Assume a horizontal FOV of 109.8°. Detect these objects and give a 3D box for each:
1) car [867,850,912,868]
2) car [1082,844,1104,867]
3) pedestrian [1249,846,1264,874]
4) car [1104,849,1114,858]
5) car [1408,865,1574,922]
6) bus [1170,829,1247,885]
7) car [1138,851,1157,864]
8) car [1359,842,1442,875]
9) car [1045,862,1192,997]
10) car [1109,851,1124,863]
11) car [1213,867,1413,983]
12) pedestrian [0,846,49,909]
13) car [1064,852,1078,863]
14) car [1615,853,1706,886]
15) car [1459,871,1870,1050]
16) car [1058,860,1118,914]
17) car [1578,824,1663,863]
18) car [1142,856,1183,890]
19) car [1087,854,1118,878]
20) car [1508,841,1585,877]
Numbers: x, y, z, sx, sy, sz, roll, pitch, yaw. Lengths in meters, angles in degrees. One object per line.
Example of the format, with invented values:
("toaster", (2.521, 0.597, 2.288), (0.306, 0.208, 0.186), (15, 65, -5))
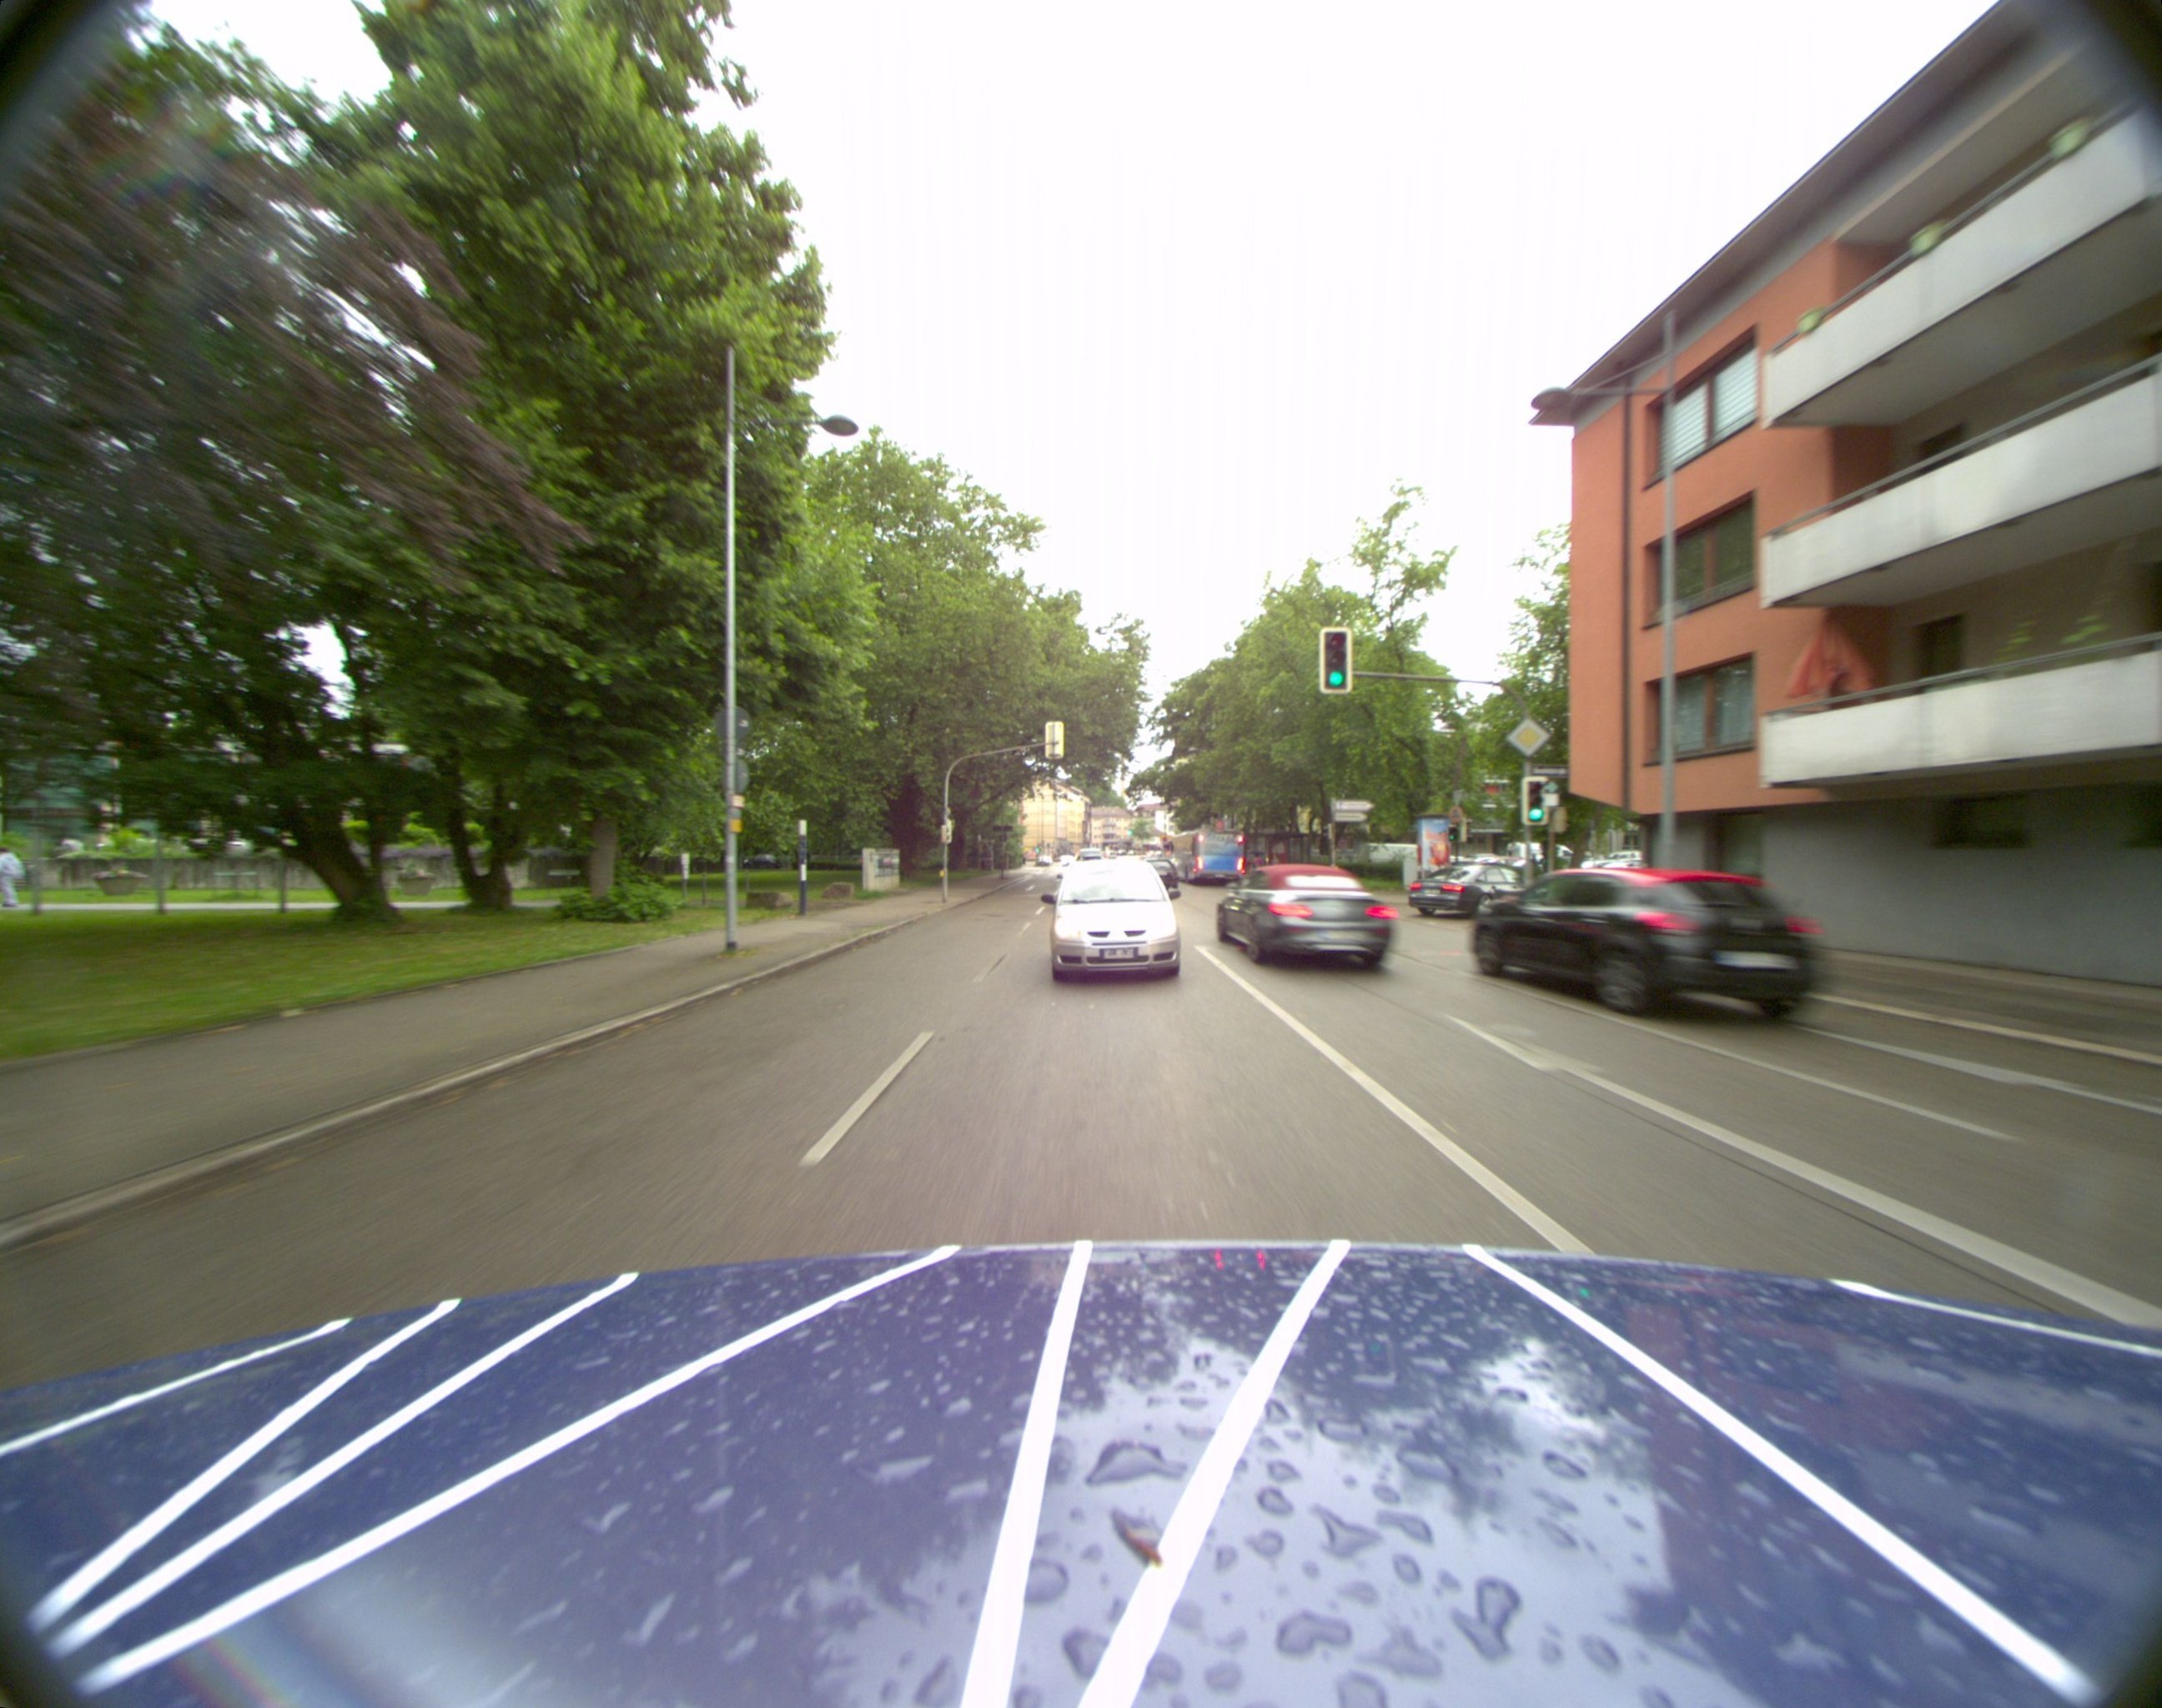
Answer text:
("car", (-18.719, 0.445, 74.359), (3.998, 1.706, 1.999), (0, 0, -2))
("car", (1.209, 0.119, 73.459), (2.037, 2.119, 4.000), (0, 1, 1))
("pedestrian", (11.346, 0.402, 49.140), (0.711, 1.759, 0.687), (-3, 1, 1))
("car", (5.199, -0.074, 141.081), (1.906, 1.537, 4.000), (0, 1, 1))
("car", (11.555, 1.067, 21.342), (4.815, 1.407, 1.814), (1, 1, -30))
("bus", (7.370, 0.082, 45.754), (2.700, 2.923, 12.083), (1, 1, 1))
("car", (7.982, 0.441, 91.729), (1.802, 1.508, 4.807), (2, 0, 0))
("car", (19.260, 0.255, 45.931), (4.334, 1.911, 1.702), (0, 0, -2))
("car", (0.470, 0.932, 11.561), (1.718, 1.509, 4.807), (-2, 0, 0))
("car", (4.652, 0.444, 100.935), (1.802, 1.508, 4.580), (2, 0, 0))
("car", (3.321, 0.944, 11.830), (1.798, 1.407, 4.335), (1, 0, 0))
("pedestrian", (-30.382, 0.666, 21.552), (0.840, 1.753, 0.879), (-3, 1, -5))
("car", (-1.394, 0.517, 109.097), (1.906, 1.537, 4.000), (0, 1, 1))
("car", (29.777, 0.792, 39.070), (3.745, 1.654, 1.701), (0, 0, -13))
("car", (6.139, 0.992, 8.683), (1.691, 1.483, 3.890), (1, 0, 0))
("car", (0.203, 0.970, 24.137), (1.718, 1.509, 4.088), (-1, 0, 0))
("car", (37.373, -0.719, 52.678), (4.584, 2.597, 1.999), (0, 0, -6))
("car", (3.855, 0.857, 36.067), (1.799, 1.449, 4.493), (1, 0, 6))
("car", (1.415, 0.722, 48.922), (1.800, 1.449, 4.492), (0, 0, 4))
("car", (35.053, 0.360, 57.316), (4.580, 2.597, 2.000), (0, 0, 2))
